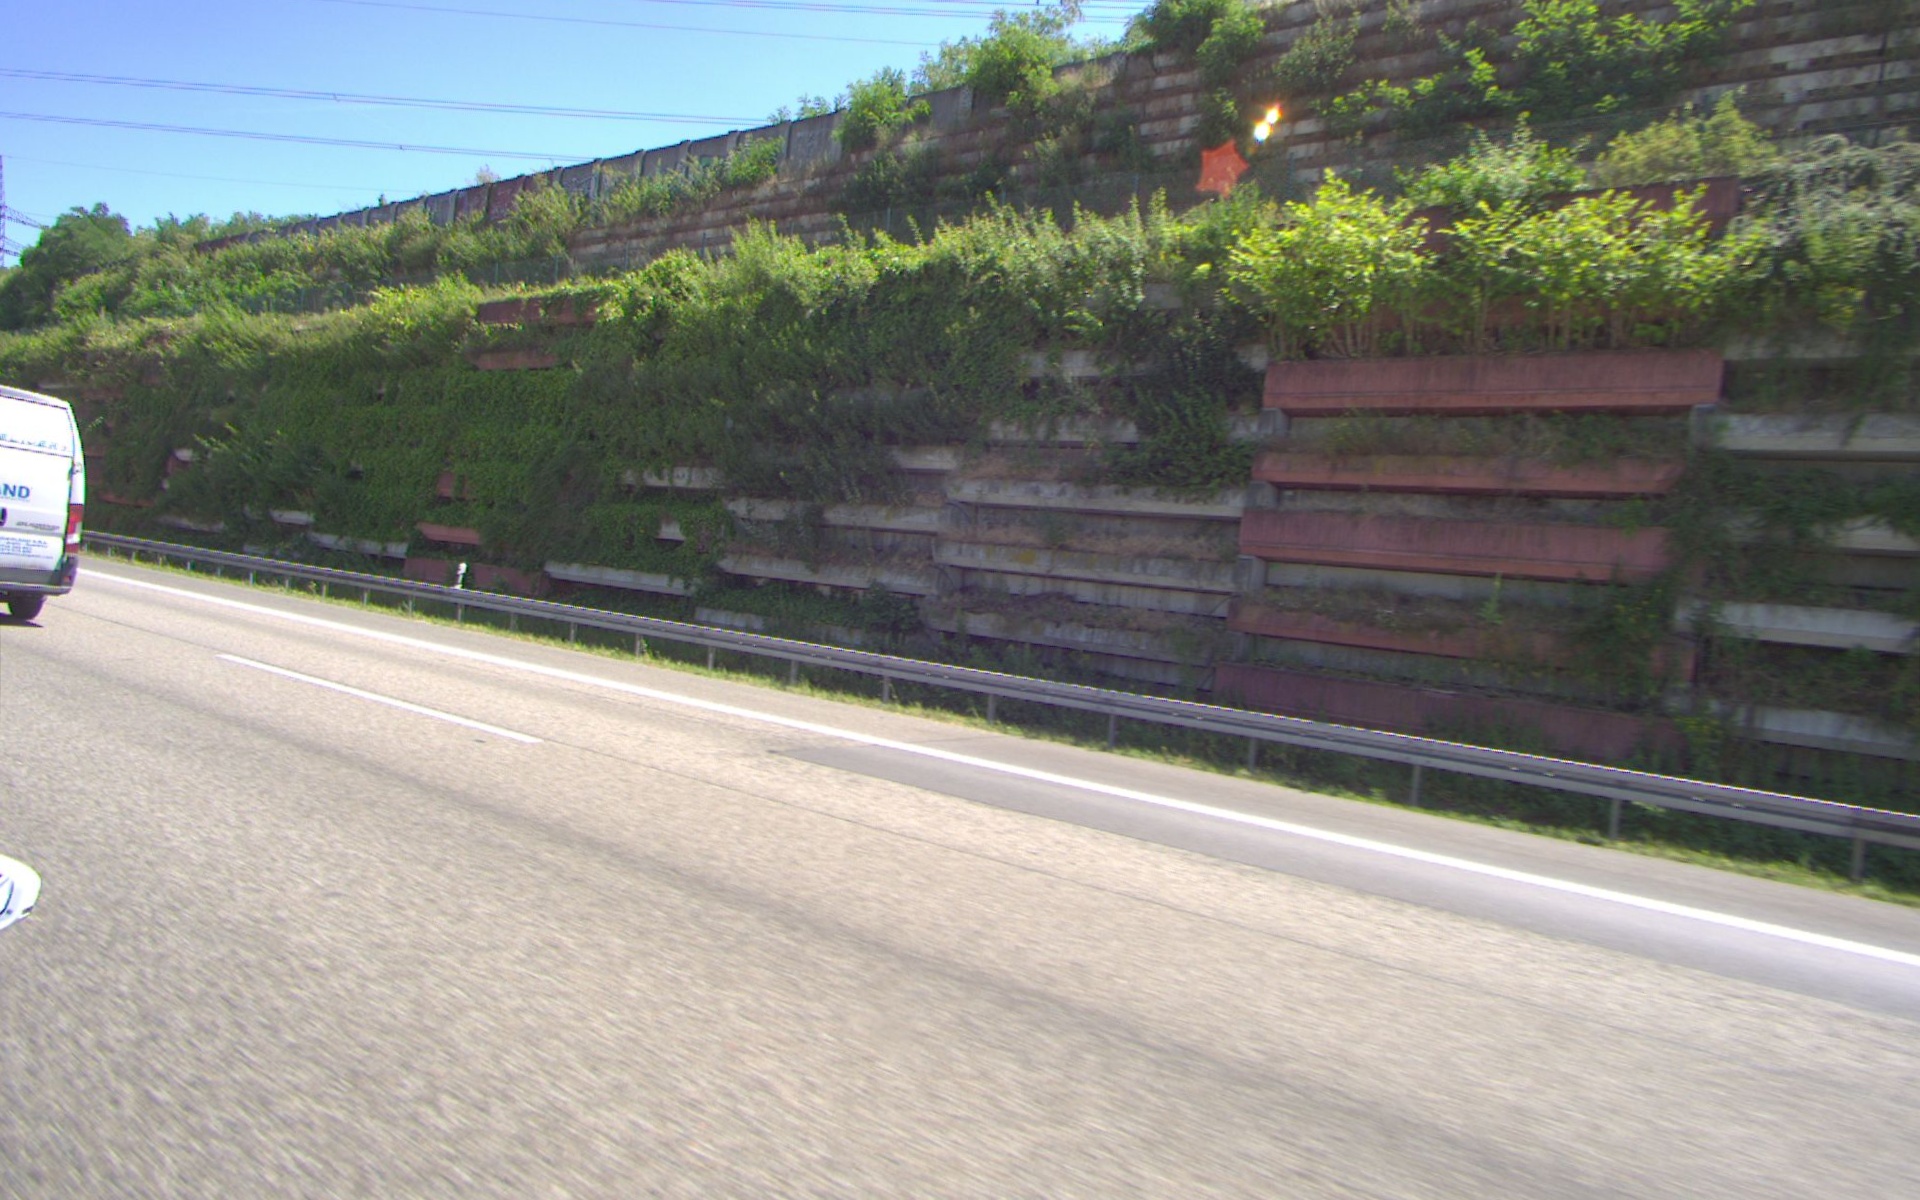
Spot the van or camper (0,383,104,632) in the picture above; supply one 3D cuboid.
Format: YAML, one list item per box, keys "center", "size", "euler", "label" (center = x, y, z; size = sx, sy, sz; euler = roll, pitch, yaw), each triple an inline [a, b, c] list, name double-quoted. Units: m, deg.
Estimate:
- center: [-13.954, -1.400, 13.144]
  size: [6.645, 2.802, 2.099]
  euler: [6, 0, 32]
  label: "van or camper"
